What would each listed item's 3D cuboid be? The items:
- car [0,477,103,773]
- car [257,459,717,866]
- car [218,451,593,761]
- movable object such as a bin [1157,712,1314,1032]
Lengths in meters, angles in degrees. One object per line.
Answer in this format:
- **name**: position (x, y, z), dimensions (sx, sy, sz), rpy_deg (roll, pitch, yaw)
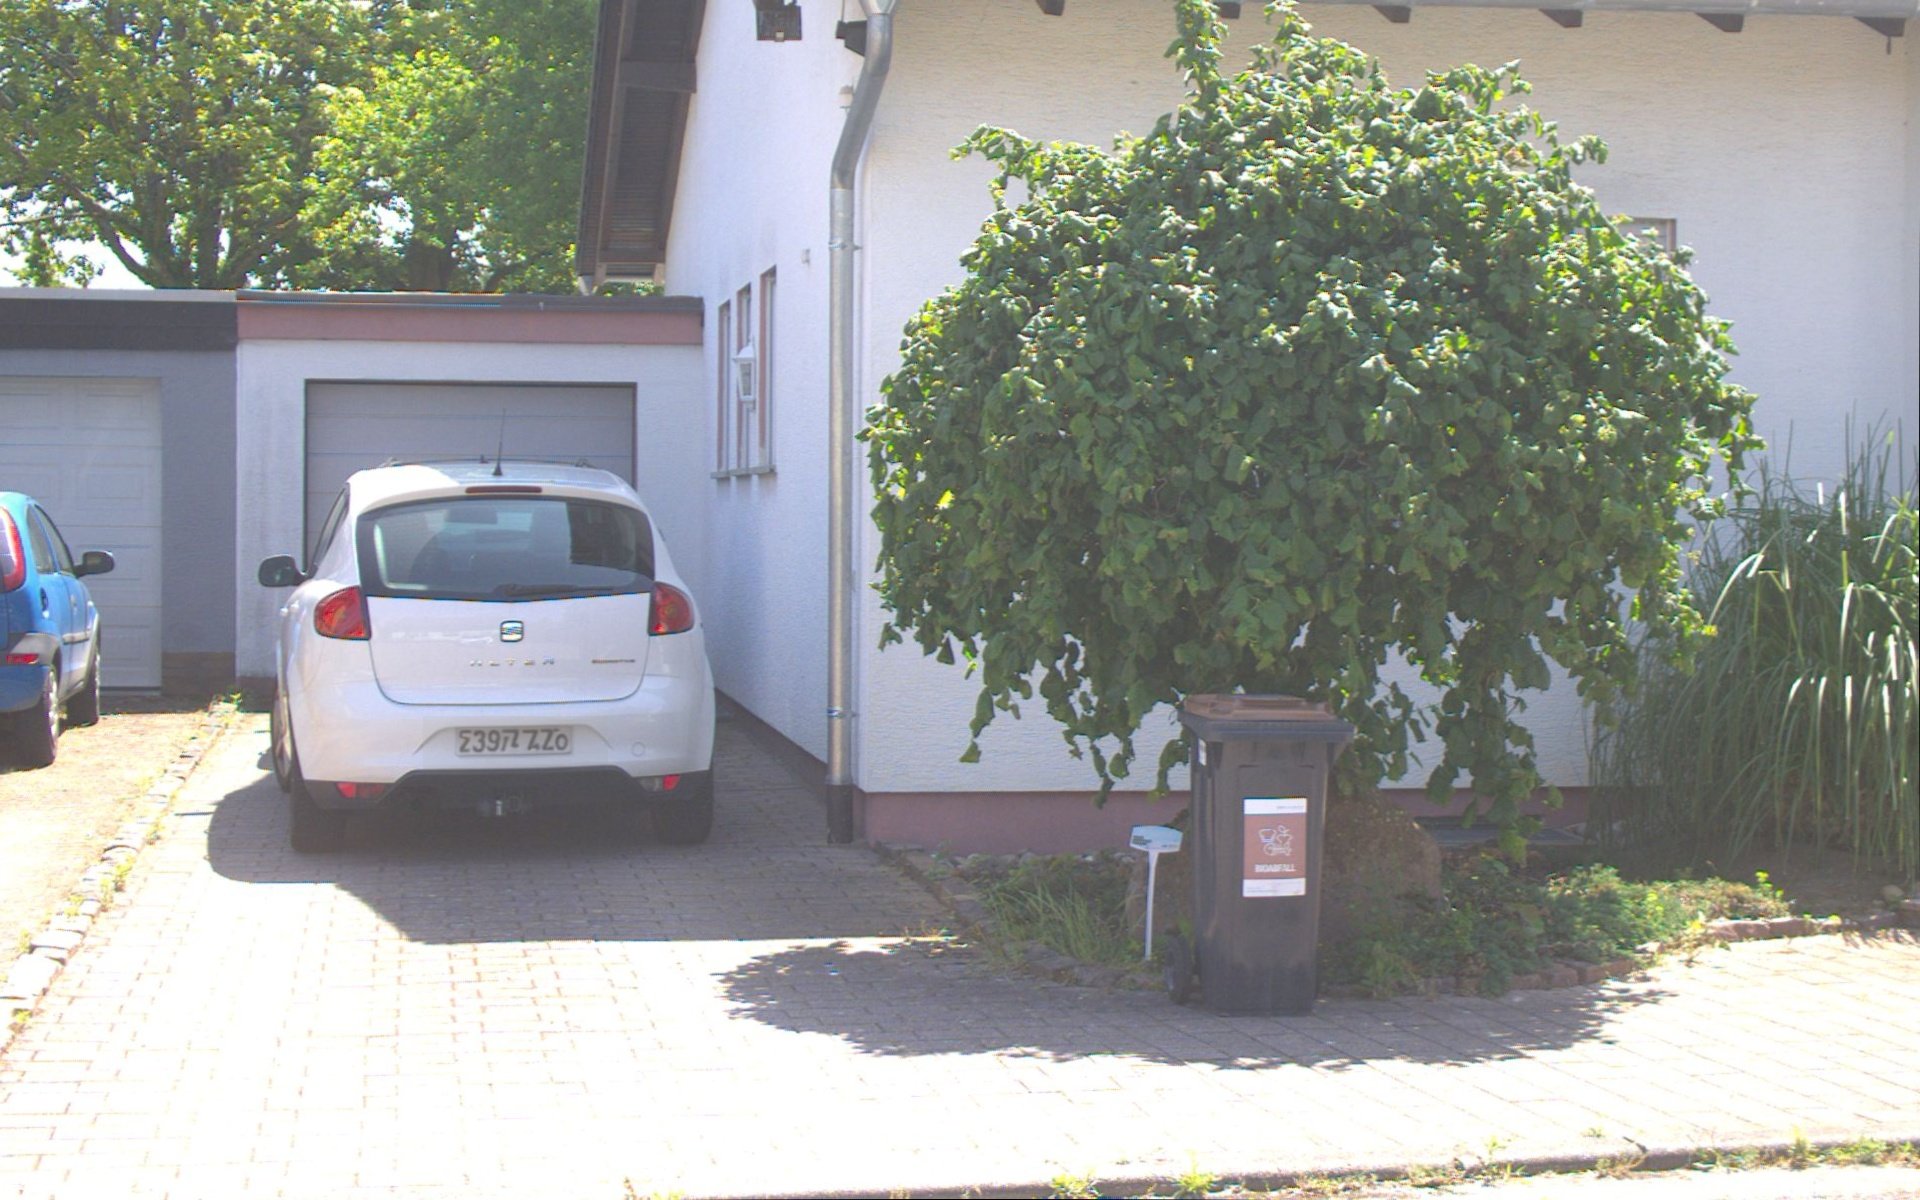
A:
- **car**: position (-5.741, 0.068, 19.098), dimensions (1.614, 1.450, 3.255), rpy_deg (1, 3, -9)
- **car**: position (-2.231, 0.168, 15.334), dimensions (1.746, 1.563, 4.002), rpy_deg (0, 2, -12)
- **car**: position (-3.175, -0.059, 19.918), dimensions (1.922, 1.602, 4.002), rpy_deg (0, 3, -8)
- **movable object such as a bin**: position (0.804, 0.786, 10.068), dimensions (0.374, 0.888, 0.391), rpy_deg (0, 2, -10)
